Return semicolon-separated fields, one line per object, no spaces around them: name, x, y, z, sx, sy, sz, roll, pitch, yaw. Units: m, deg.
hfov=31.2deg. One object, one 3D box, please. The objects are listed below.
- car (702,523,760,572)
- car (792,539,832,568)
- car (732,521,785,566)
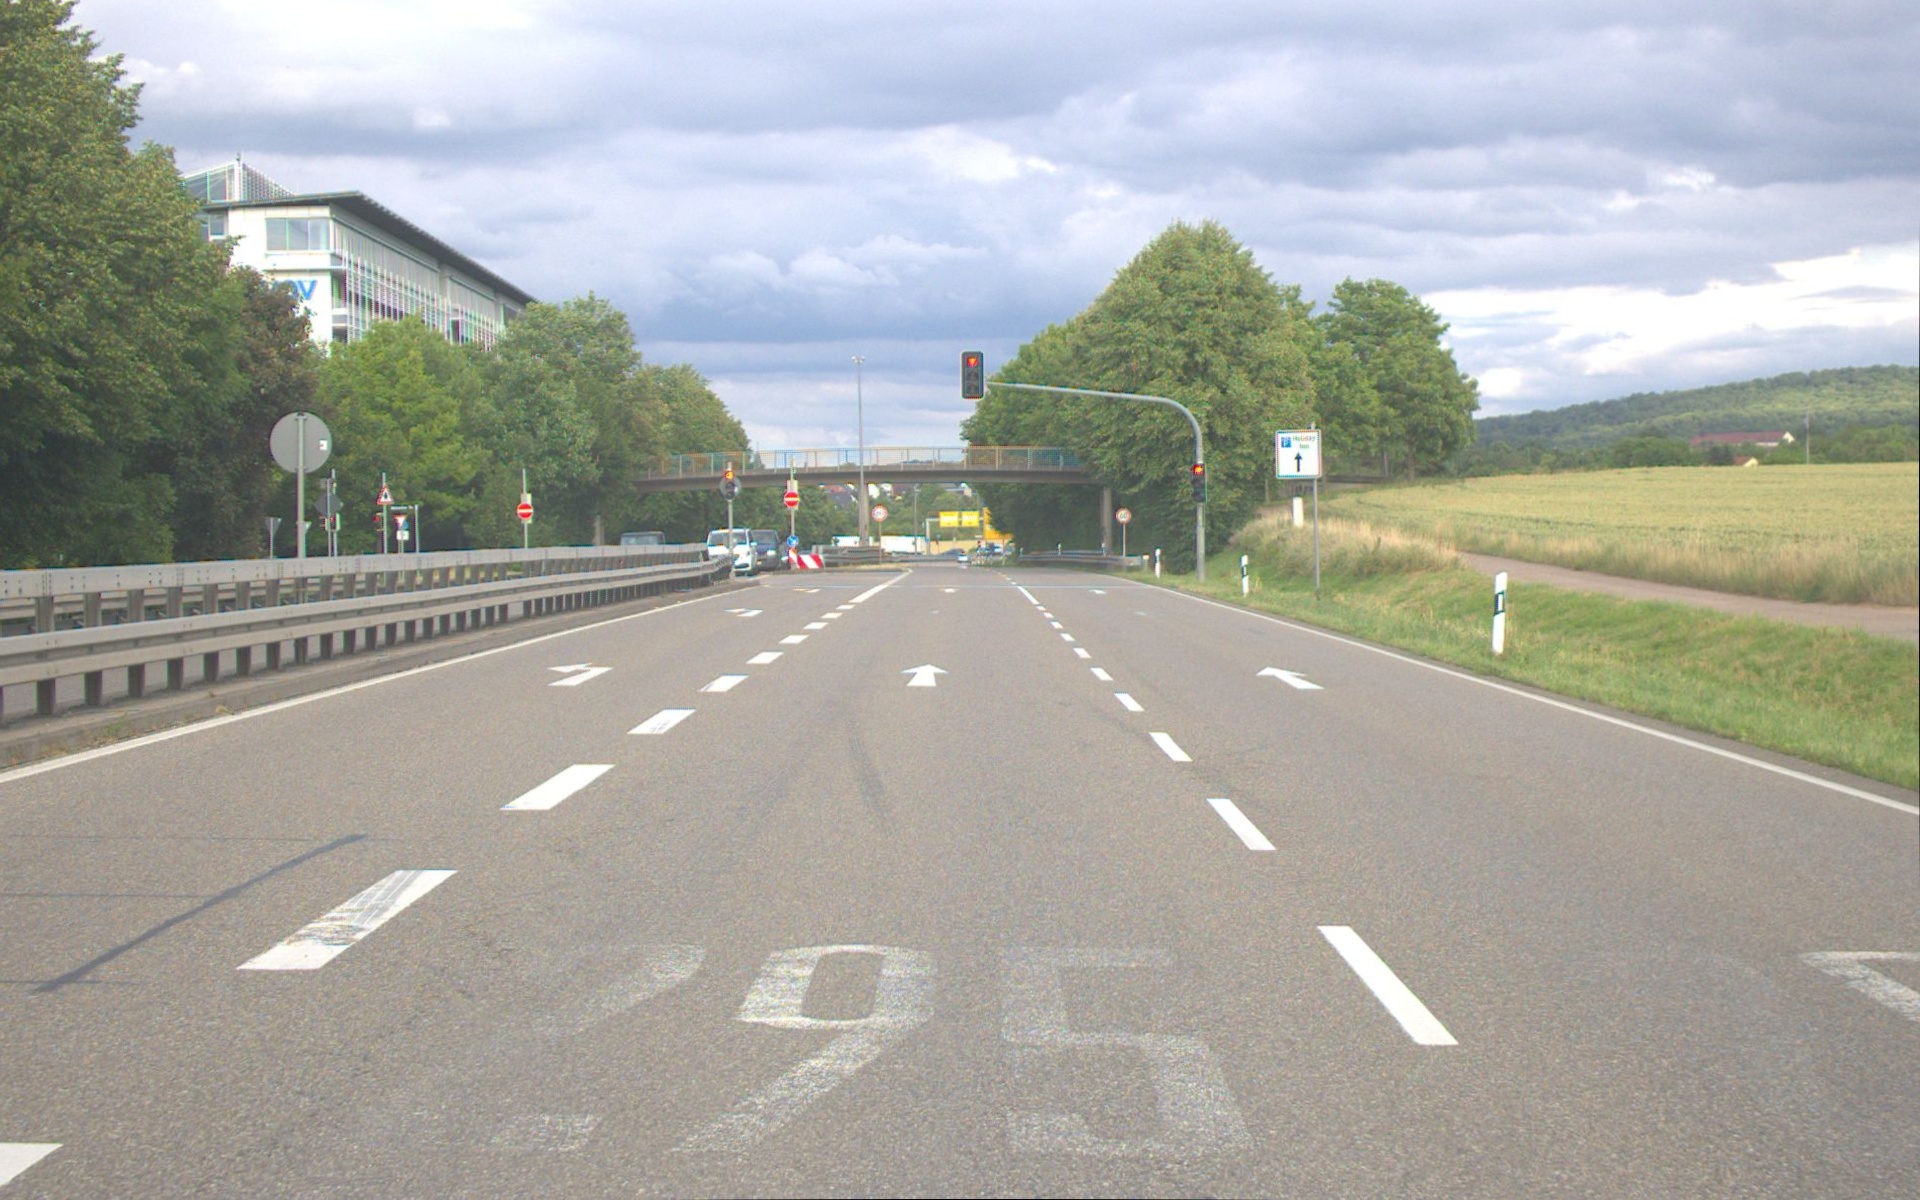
car;-9.006;-2.078;135.663;1.948;1.867;4.737;0;2;0
car;-5.743;-1.805;133.633;1.358;1.088;2.922;0;2;1
car;-8.701;-2.454;148.901;1.993;1.867;4.737;0;2;0
